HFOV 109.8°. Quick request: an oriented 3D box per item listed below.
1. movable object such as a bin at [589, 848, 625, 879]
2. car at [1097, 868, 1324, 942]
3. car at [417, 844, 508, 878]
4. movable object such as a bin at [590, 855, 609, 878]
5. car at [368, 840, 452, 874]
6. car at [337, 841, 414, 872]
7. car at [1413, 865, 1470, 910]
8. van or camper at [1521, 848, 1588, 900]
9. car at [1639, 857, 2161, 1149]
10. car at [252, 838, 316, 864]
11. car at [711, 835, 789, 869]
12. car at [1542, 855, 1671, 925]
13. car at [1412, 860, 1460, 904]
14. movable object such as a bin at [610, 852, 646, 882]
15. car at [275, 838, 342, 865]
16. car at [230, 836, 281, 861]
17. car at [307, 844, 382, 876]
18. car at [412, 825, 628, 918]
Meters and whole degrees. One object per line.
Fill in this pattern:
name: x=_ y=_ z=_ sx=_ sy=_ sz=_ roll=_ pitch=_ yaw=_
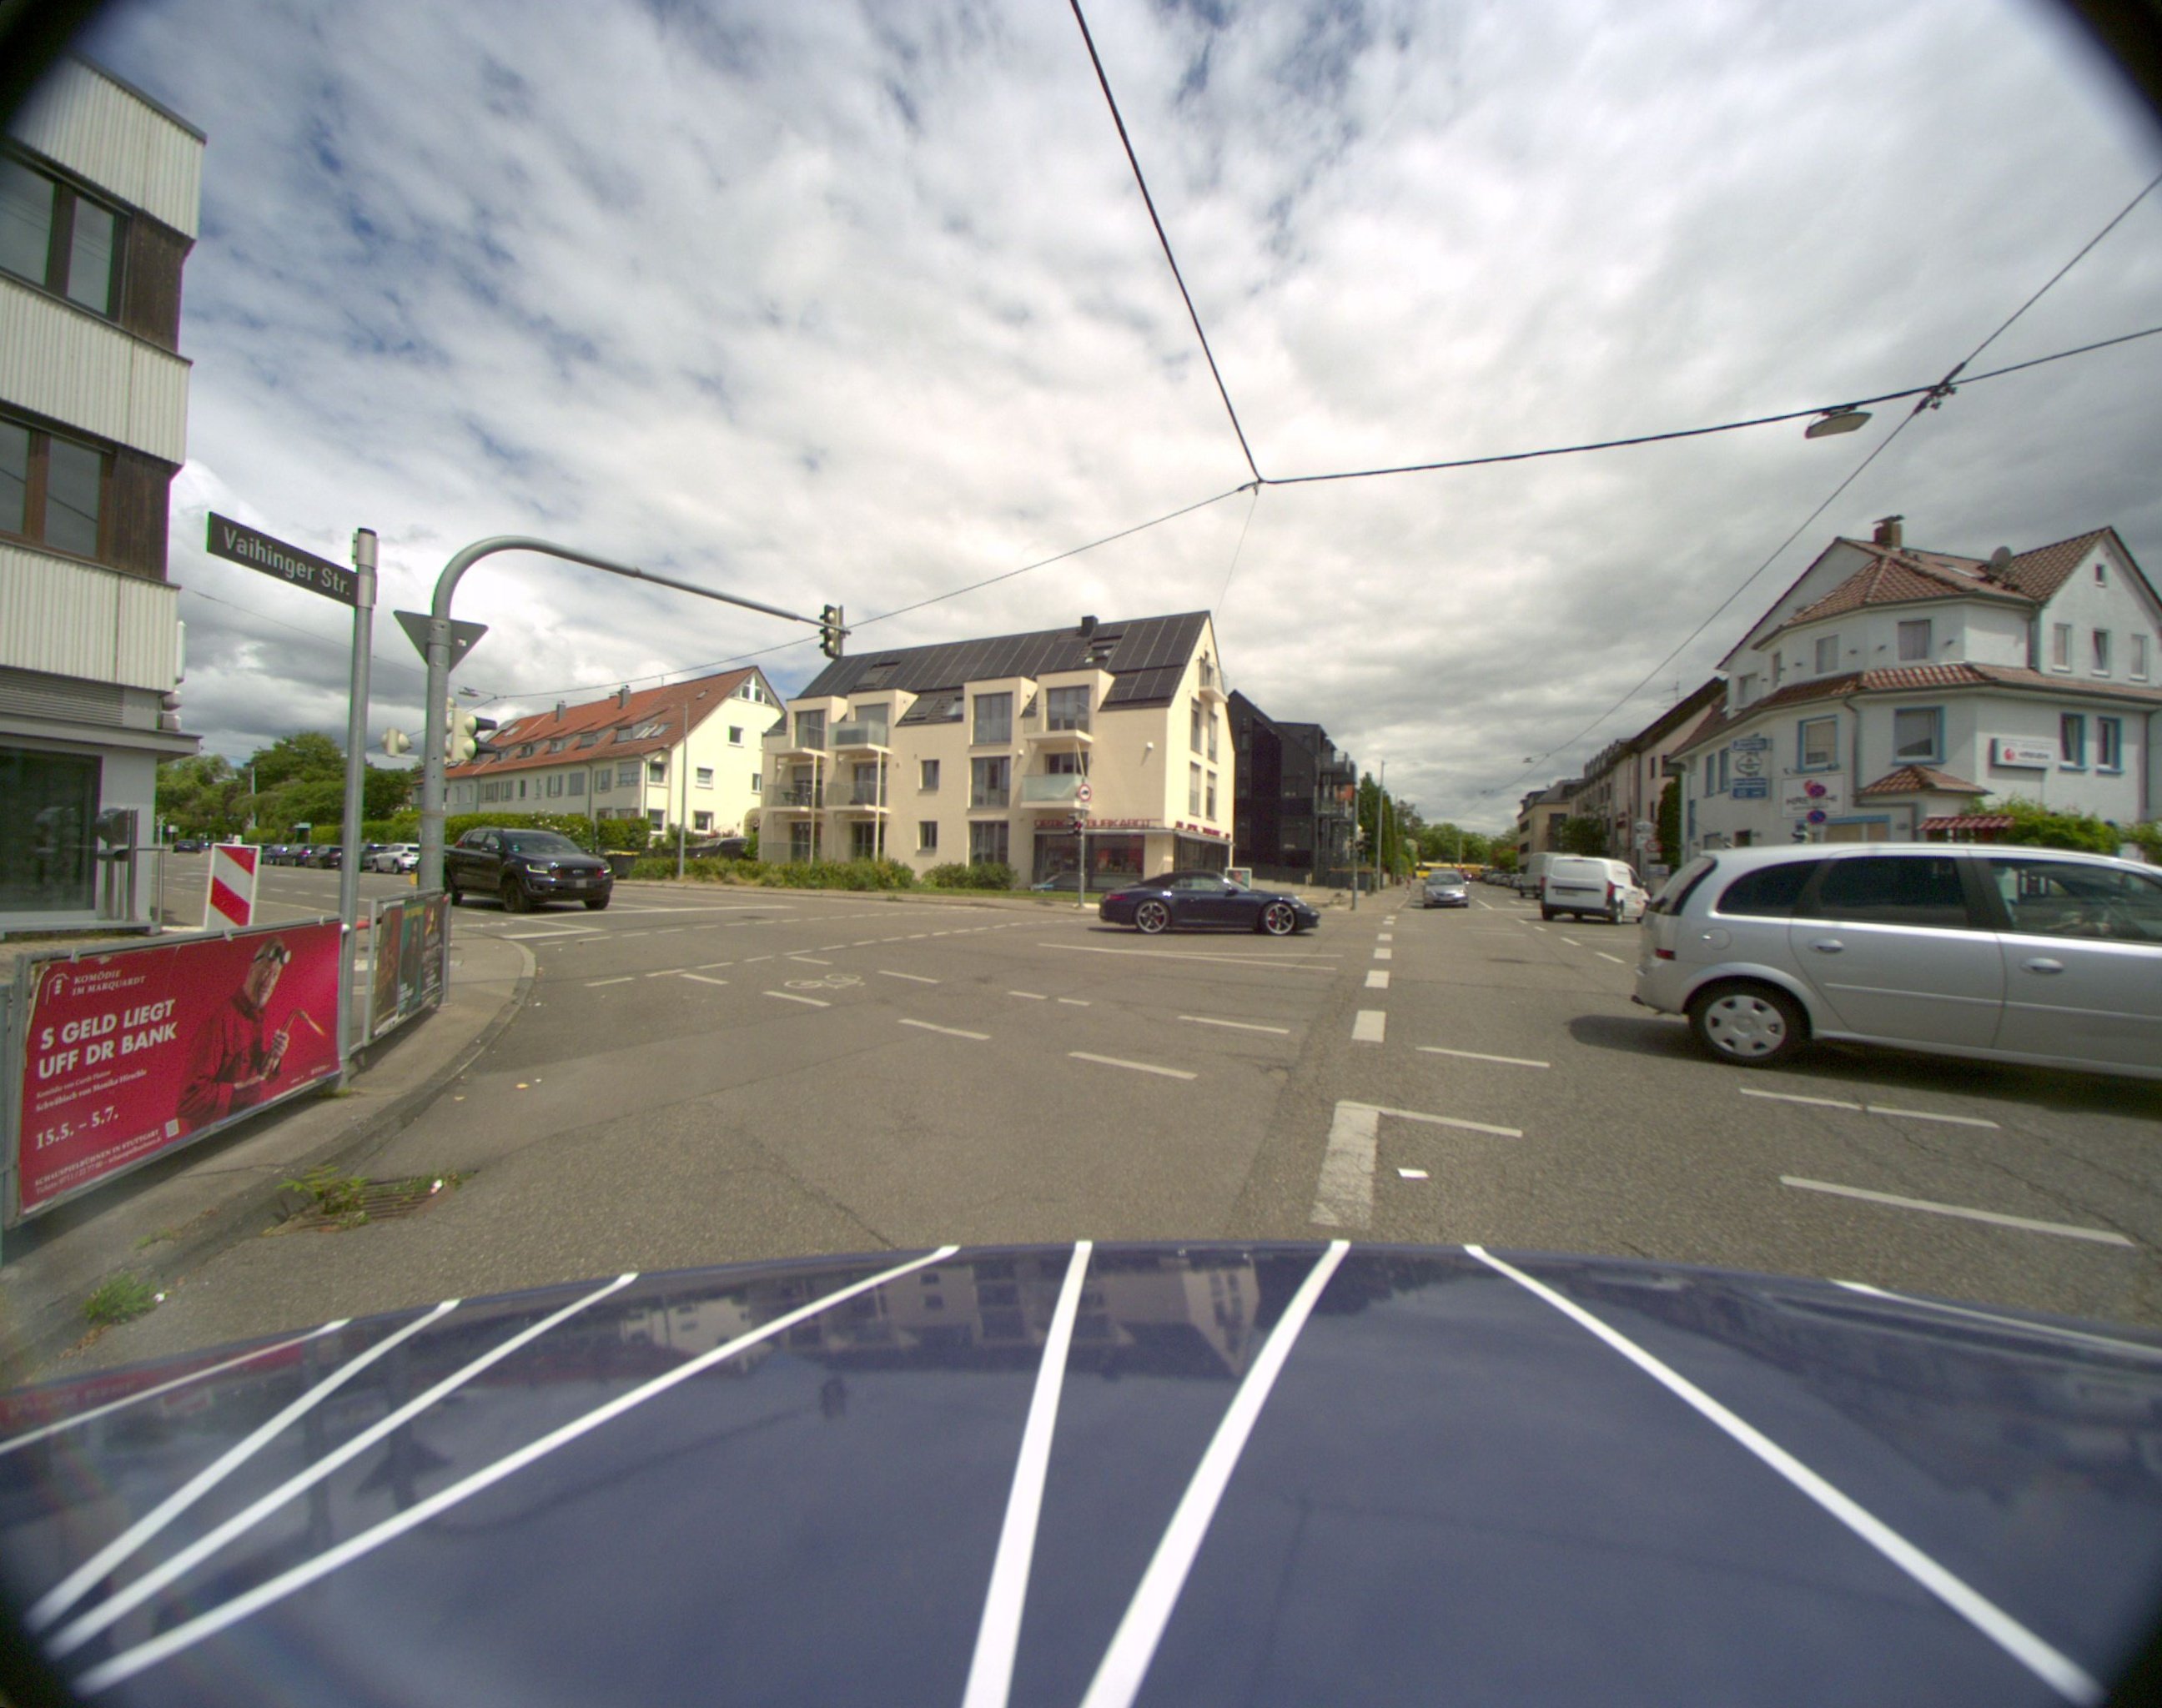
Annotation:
movable object such as a bin: x=-22.764 y=0.436 z=36.494 sx=0.978 sy=1.438 sz=1.095 roll=2 pitch=0 yaw=31
car: x=2.512 y=0.995 z=15.590 sx=4.299 sy=1.275 sz=2.000 roll=1 pitch=0 yaw=2
car: x=-30.053 y=0.336 z=36.909 sx=4.441 sy=1.492 sz=1.823 roll=1 pitch=0 yaw=28
movable object such as a bin: x=-23.469 y=0.604 z=37.029 sx=0.523 sy=1.059 sz=0.656 roll=1 pitch=0 yaw=-8
car: x=-35.130 y=0.142 z=39.745 sx=4.440 sy=1.623 sz=2.004 roll=1 pitch=0 yaw=30
car: x=-39.594 y=0.114 z=42.646 sx=4.224 sy=1.623 sz=2.004 roll=1 pitch=0 yaw=30
car: x=15.097 y=1.342 z=31.912 sx=1.995 sy=1.674 sz=4.007 roll=2 pitch=0 yaw=24
van or camper: x=26.127 y=1.100 z=42.143 sx=2.108 sy=2.572 sz=5.656 roll=4 pitch=0 yaw=23
car: x=6.246 y=0.855 z=5.081 sx=3.989 sy=1.566 sz=1.779 roll=1 pitch=0 yaw=36
car: x=-53.346 y=-0.198 z=50.860 sx=4.224 sy=1.623 sz=2.004 roll=1 pitch=0 yaw=30
car: x=-20.622 y=-0.116 z=47.468 sx=1.994 sy=2.002 sz=4.008 roll=2 pitch=0 yaw=31
car: x=15.018 y=1.017 z=21.615 sx=4.429 sy=1.801 sz=1.816 roll=3 pitch=-1 yaw=-39
car: x=17.695 y=1.331 z=37.958 sx=1.995 sy=2.002 sz=4.007 roll=2 pitch=0 yaw=24
movable object such as a bin: x=-21.267 y=0.596 z=35.673 sx=0.978 sy=1.354 sz=1.095 roll=2 pitch=0 yaw=31
car: x=-49.108 y=-0.166 z=48.283 sx=4.224 sy=1.623 sz=2.004 roll=1 pitch=0 yaw=30
car: x=-64.823 y=-0.443 z=59.668 sx=4.057 sy=1.903 sz=2.004 roll=1 pitch=0 yaw=33
car: x=-44.039 y=0.354 z=45.428 sx=4.224 sy=1.622 sz=2.006 roll=1 pitch=-6 yaw=30
car: x=-12.799 y=0.320 z=17.250 sx=5.206 sy=1.838 sz=1.892 roll=1 pitch=0 yaw=29
